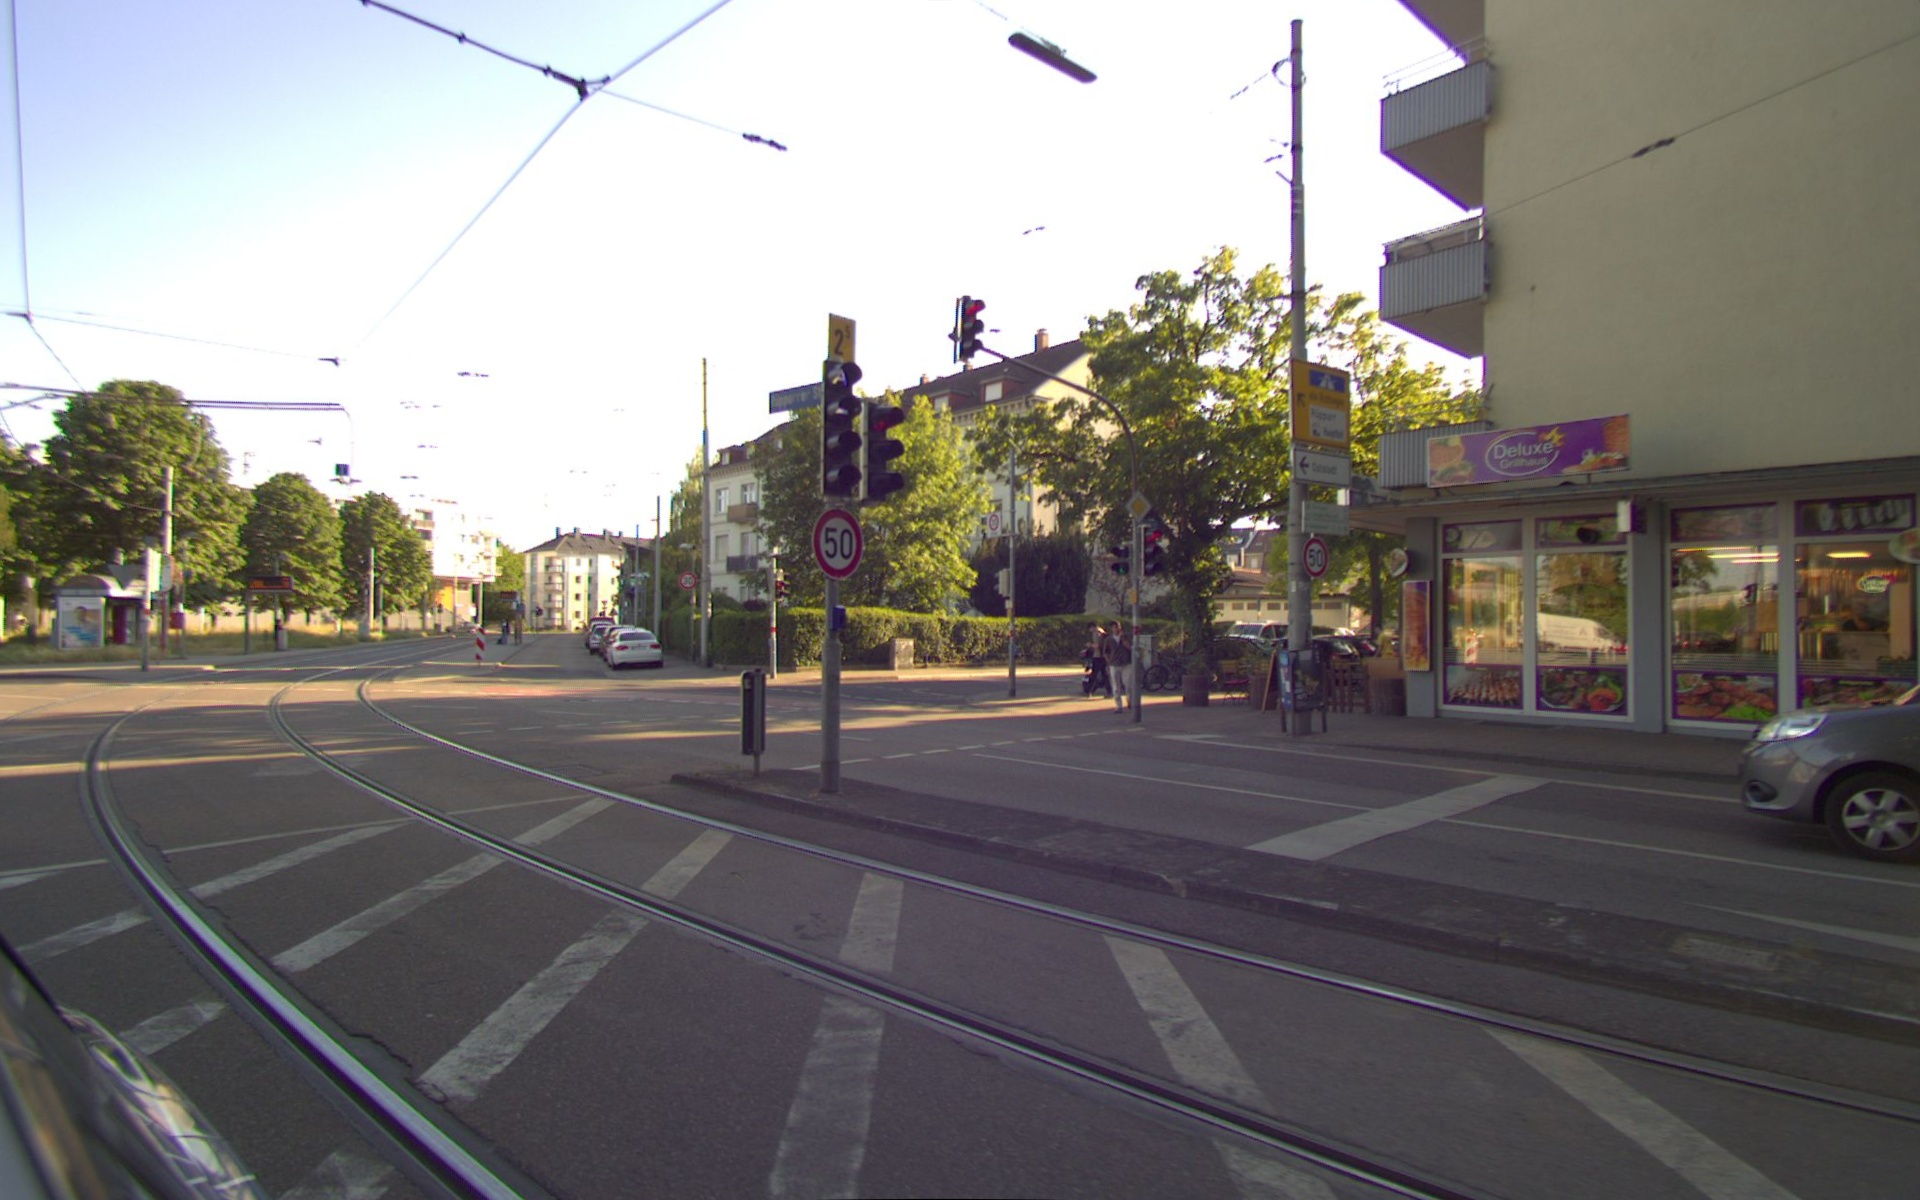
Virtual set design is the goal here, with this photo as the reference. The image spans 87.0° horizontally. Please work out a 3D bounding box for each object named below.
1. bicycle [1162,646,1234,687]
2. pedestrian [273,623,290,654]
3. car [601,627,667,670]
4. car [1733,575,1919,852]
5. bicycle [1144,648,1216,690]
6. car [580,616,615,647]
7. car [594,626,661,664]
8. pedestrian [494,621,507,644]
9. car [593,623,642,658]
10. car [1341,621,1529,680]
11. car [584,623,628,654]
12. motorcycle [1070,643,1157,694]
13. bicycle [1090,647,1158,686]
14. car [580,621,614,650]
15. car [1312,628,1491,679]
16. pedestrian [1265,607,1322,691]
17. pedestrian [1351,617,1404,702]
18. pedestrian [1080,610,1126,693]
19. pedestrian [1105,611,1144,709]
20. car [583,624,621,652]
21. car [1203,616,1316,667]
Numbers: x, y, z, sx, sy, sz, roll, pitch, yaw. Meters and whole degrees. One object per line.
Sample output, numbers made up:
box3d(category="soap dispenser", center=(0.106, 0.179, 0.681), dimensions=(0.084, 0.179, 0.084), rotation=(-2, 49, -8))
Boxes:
box3d(category="bicycle", center=(5.872, 1.636, 25.034), dimensions=(0.553, 0.939, 1.731), rotation=(2, -2, -41))
box3d(category="pedestrian", center=(-31.507, 1.798, 47.000), dimensions=(0.587, 1.438, 0.507), rotation=(1, -2, -29))
box3d(category="car", center=(-12.030, 1.719, 37.167), dimensions=(1.897, 1.387, 4.512), rotation=(-1, 0, -23))
box3d(category="car", center=(7.849, 0.750, 6.514), dimensions=(4.363, 1.820, 1.888), rotation=(-1, -2, 44))
box3d(category="bicycle", center=(5.312, 1.644, 24.525), dimensions=(0.553, 0.939, 1.731), rotation=(2, -2, -41))
box3d(category="car", center=(-24.911, 2.121, 69.460), dimensions=(2.021, 1.976, 5.168), rotation=(-1, 0, -22))
box3d(category="car", center=(-13.873, 1.822, 42.059), dimensions=(1.953, 1.387, 4.721), rotation=(-1, 0, -26))
box3d(category="pedestrian", center=(-29.570, 2.094, 65.127), dimensions=(0.559, 1.512, 0.680), rotation=(1, -2, -9))
box3d(category="car", center=(-16.176, 1.870, 47.663), dimensions=(1.953, 1.458, 4.721), rotation=(-1, 0, -22))
box3d(category="car", center=(16.888, 1.770, 36.234), dimensions=(2.327, 1.938, 5.643), rotation=(4, -4, -44))
box3d(category="car", center=(-18.163, 1.957, 51.815), dimensions=(1.953, 1.458, 3.731), rotation=(-1, 0, -22))
box3d(category="motorcycle", center=(3.649, 1.616, 24.192), dimensions=(1.958, 1.118, 0.825), rotation=(-1, -2, 44))
box3d(category="bicycle", center=(4.270, 1.732, 26.492), dimensions=(0.662, 0.939, 1.731), rotation=(2, -2, -41))
box3d(category="car", center=(-22.762, 2.161, 63.346), dimensions=(1.813, 1.680, 4.384), rotation=(-1, 0, -22))
box3d(category="car", center=(14.979, 1.805, 34.538), dimensions=(2.327, 1.569, 5.111), rotation=(4, -4, -44))
box3d(category="pedestrian", center=(7.219, 1.046, 21.937), dimensions=(0.914, 1.785, 0.802), rotation=(-1, -2, 44))
box3d(category="pedestrian", center=(9.050, 1.261, 21.915), dimensions=(0.912, 1.785, 0.804), rotation=(-1, -2, 35))
box3d(category="pedestrian", center=(3.104, 1.098, 21.922), dimensions=(0.792, 1.764, 0.686), rotation=(0, -2, 31))
box3d(category="pedestrian", center=(3.038, 1.087, 18.713), dimensions=(0.685, 1.764, 0.838), rotation=(0, -1, 8))
box3d(category="car", center=(-19.863, 2.075, 56.124), dimensions=(1.813, 1.458, 3.972), rotation=(-1, 0, -22))
box3d(category="car", center=(12.711, 1.723, 42.786), dimensions=(5.230, 2.029, 2.364), rotation=(2, -2, -44))
